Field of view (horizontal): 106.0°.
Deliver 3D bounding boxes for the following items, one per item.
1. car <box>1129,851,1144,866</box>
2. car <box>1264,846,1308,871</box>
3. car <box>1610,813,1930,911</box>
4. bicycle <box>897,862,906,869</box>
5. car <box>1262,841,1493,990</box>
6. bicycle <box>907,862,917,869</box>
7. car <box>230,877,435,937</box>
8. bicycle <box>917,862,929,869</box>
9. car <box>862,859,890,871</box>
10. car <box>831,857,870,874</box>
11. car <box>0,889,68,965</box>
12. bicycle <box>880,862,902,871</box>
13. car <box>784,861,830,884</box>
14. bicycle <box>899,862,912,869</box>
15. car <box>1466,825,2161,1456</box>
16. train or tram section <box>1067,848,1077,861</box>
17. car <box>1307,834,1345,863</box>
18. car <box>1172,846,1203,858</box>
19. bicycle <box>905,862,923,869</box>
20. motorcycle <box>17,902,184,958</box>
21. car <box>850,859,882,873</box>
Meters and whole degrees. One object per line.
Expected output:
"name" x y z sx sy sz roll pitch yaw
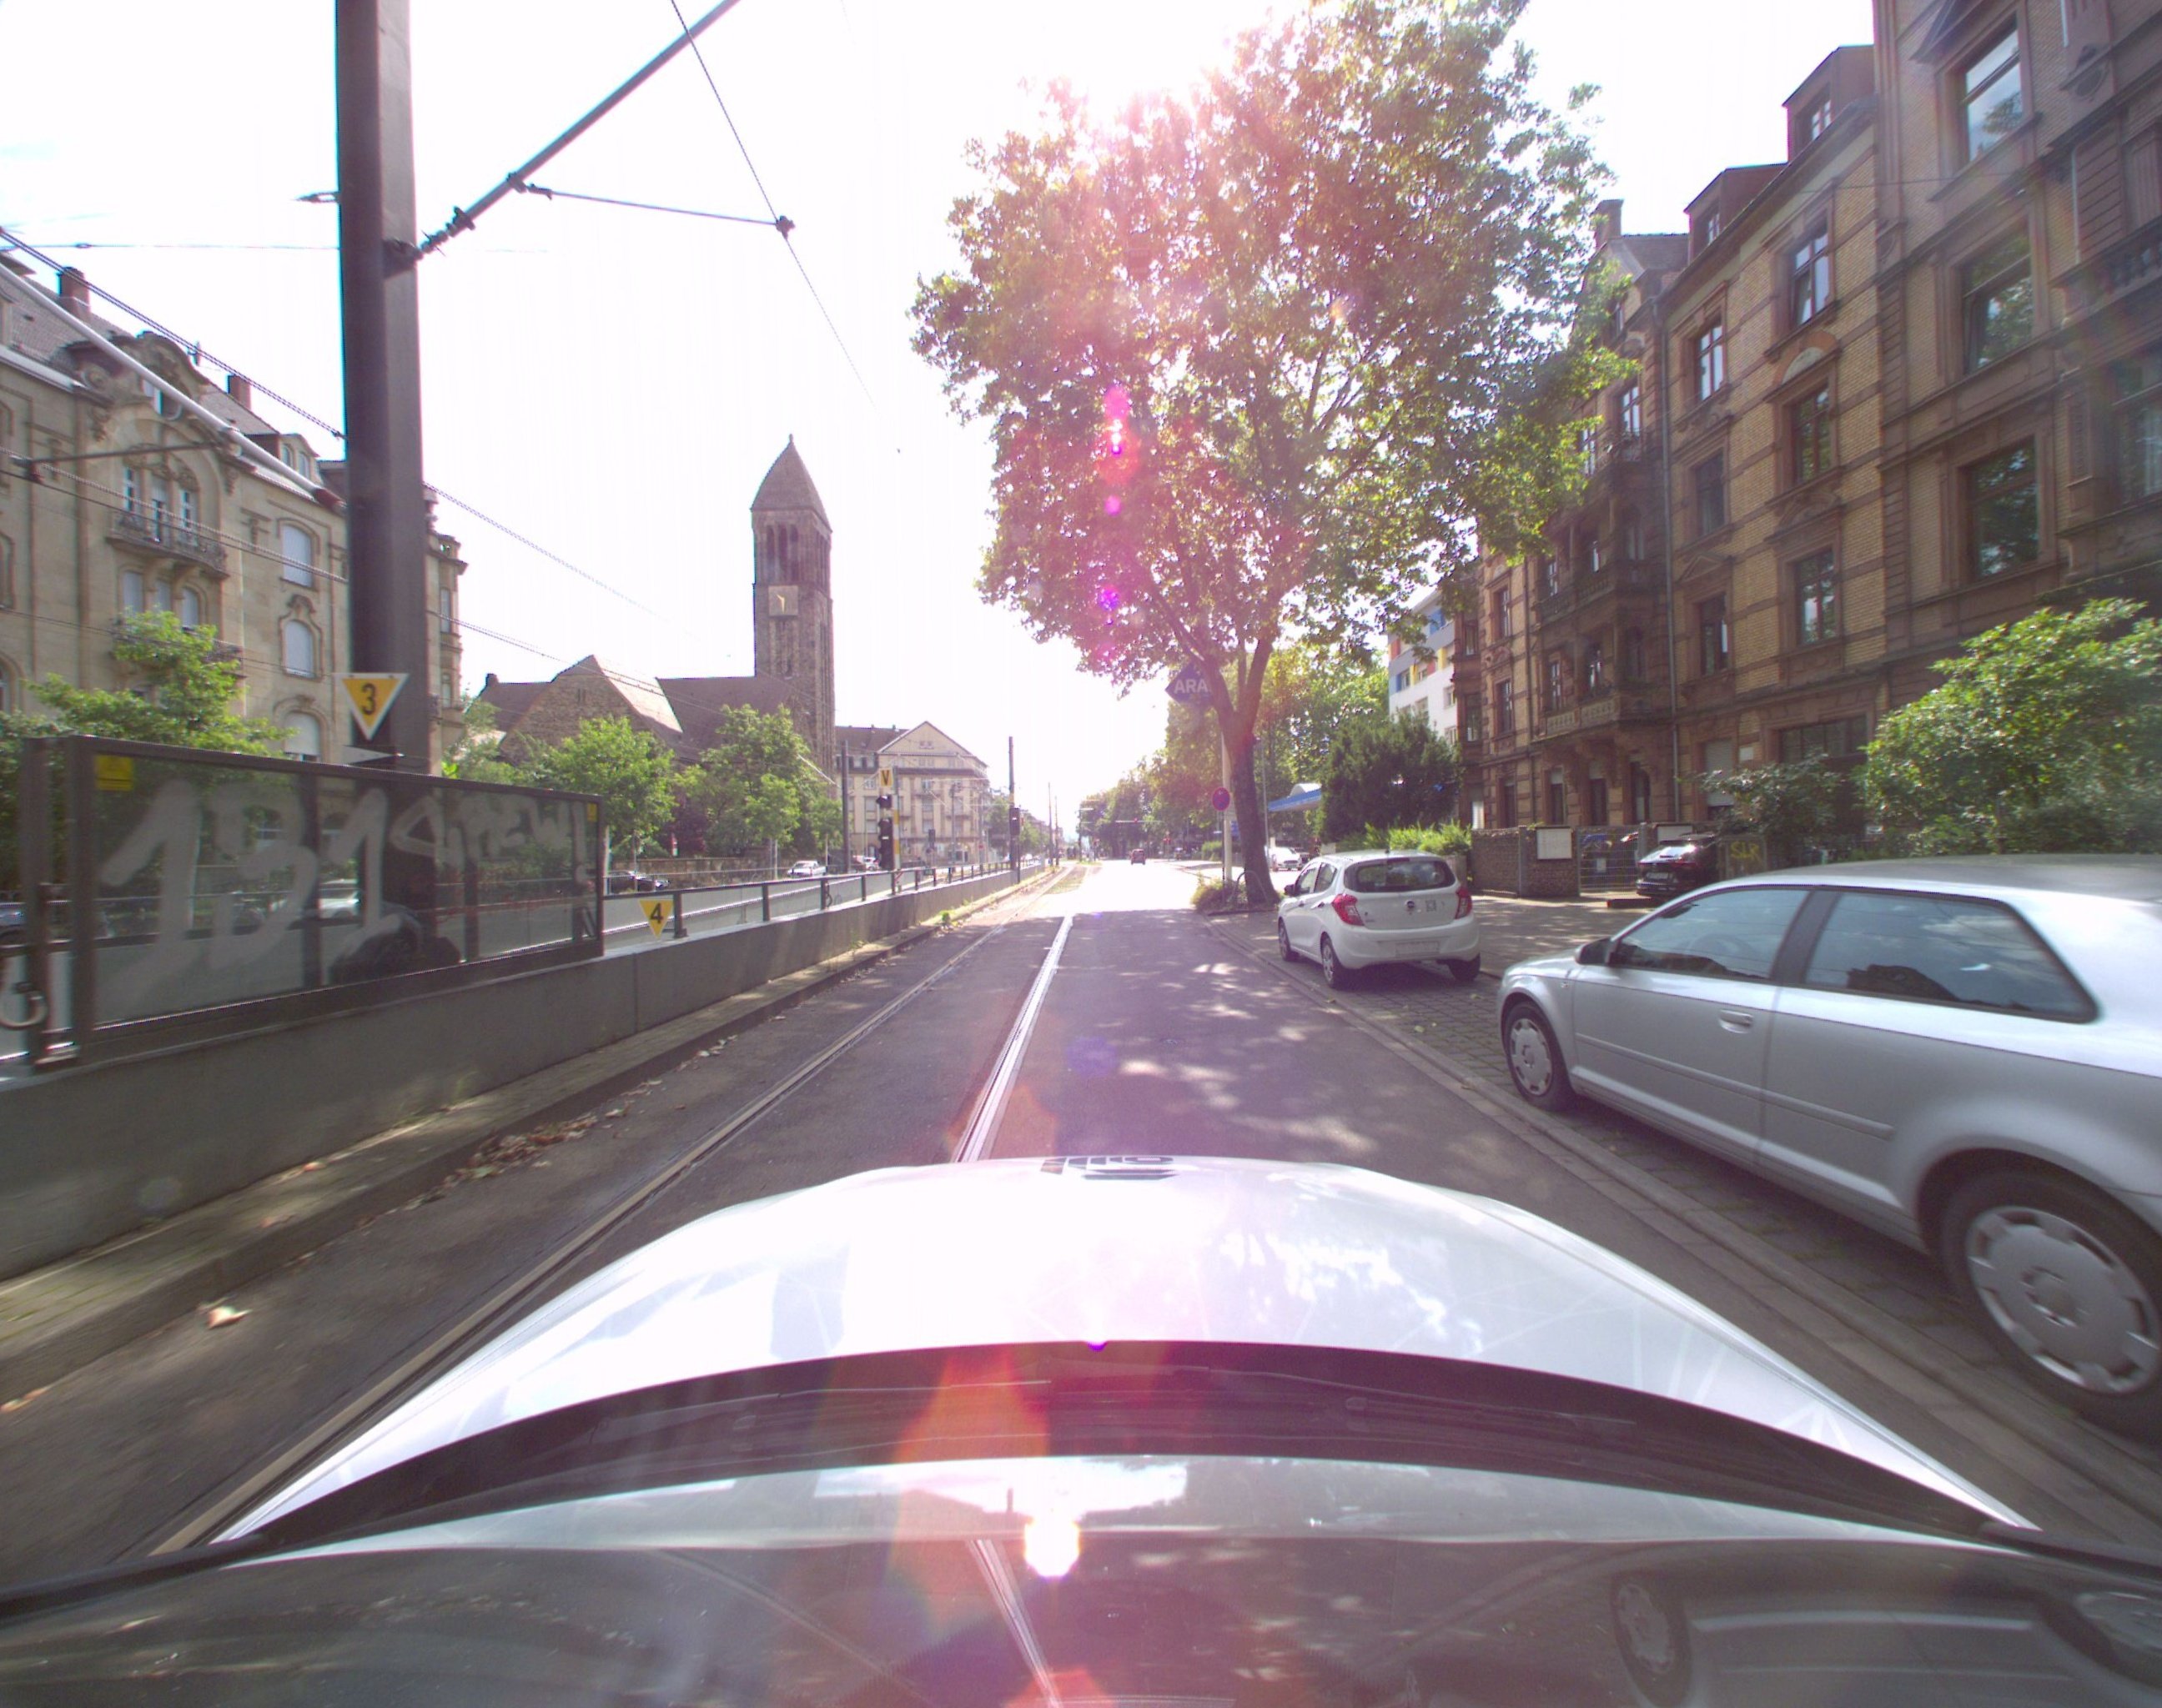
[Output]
"car" 6.765 0.540 99.351 1.744 1.809 3.476 0 0 2
"car" 12.716 0.259 50.731 1.799 1.455 4.002 -1 0 1
"car" 12.563 0.143 15.078 4.219 1.469 1.942 -3 0 1
"bicycle" -28.547 1.792 129.258 0.744 1.053 2.543 -2 0 -28
"car" 3.495 0.623 10.346 1.548 1.485 3.859 -2 0 1
"bicycle" -27.029 1.785 130.003 0.808 1.053 2.543 -2 0 -28
"car" -20.702 1.402 22.820 1.746 1.328 4.311 -2 0 -1
"bicycle" -25.324 1.767 130.747 0.798 1.053 2.575 -2 0 13
"car" -31.810 1.687 126.557 3.948 1.674 2.013 -2 0 34
"car" -25.994 1.318 92.011 3.859 1.748 1.894 -2 0 -2
"car" -20.754 1.387 13.801 2.014 1.327 4.099 -2 0 -1
"bicycle" -29.750 1.923 127.602 3.283 1.253 1.003 -2 0 17
"car" -20.169 1.348 60.130 1.925 1.504 4.413 -2 0 0
"bicycle" -27.365 1.773 127.039 1.985 1.114 0.482 -2 0 -36
"car" 3.387 0.659 3.443 1.672 1.444 3.859 -3 0 1
"train or tram section" -2.439 0.179 223.440 2.232 3.331 12.976 -2 0 2
"car" 23.300 -0.535 77.734 2.103 2.582 6.024 -2 0 3
"car" 17.958 -0.334 137.106 4.755 1.859 1.985 -2 0 -23
"bicycle" -26.316 1.773 128.441 2.571 1.053 0.676 -2 0 -27
"motorcycle" -20.850 1.597 17.379 1.755 0.941 1.417 -3 0 -1
"car" -25.142 1.449 95.282 3.255 1.502 1.854 -2 0 -1
